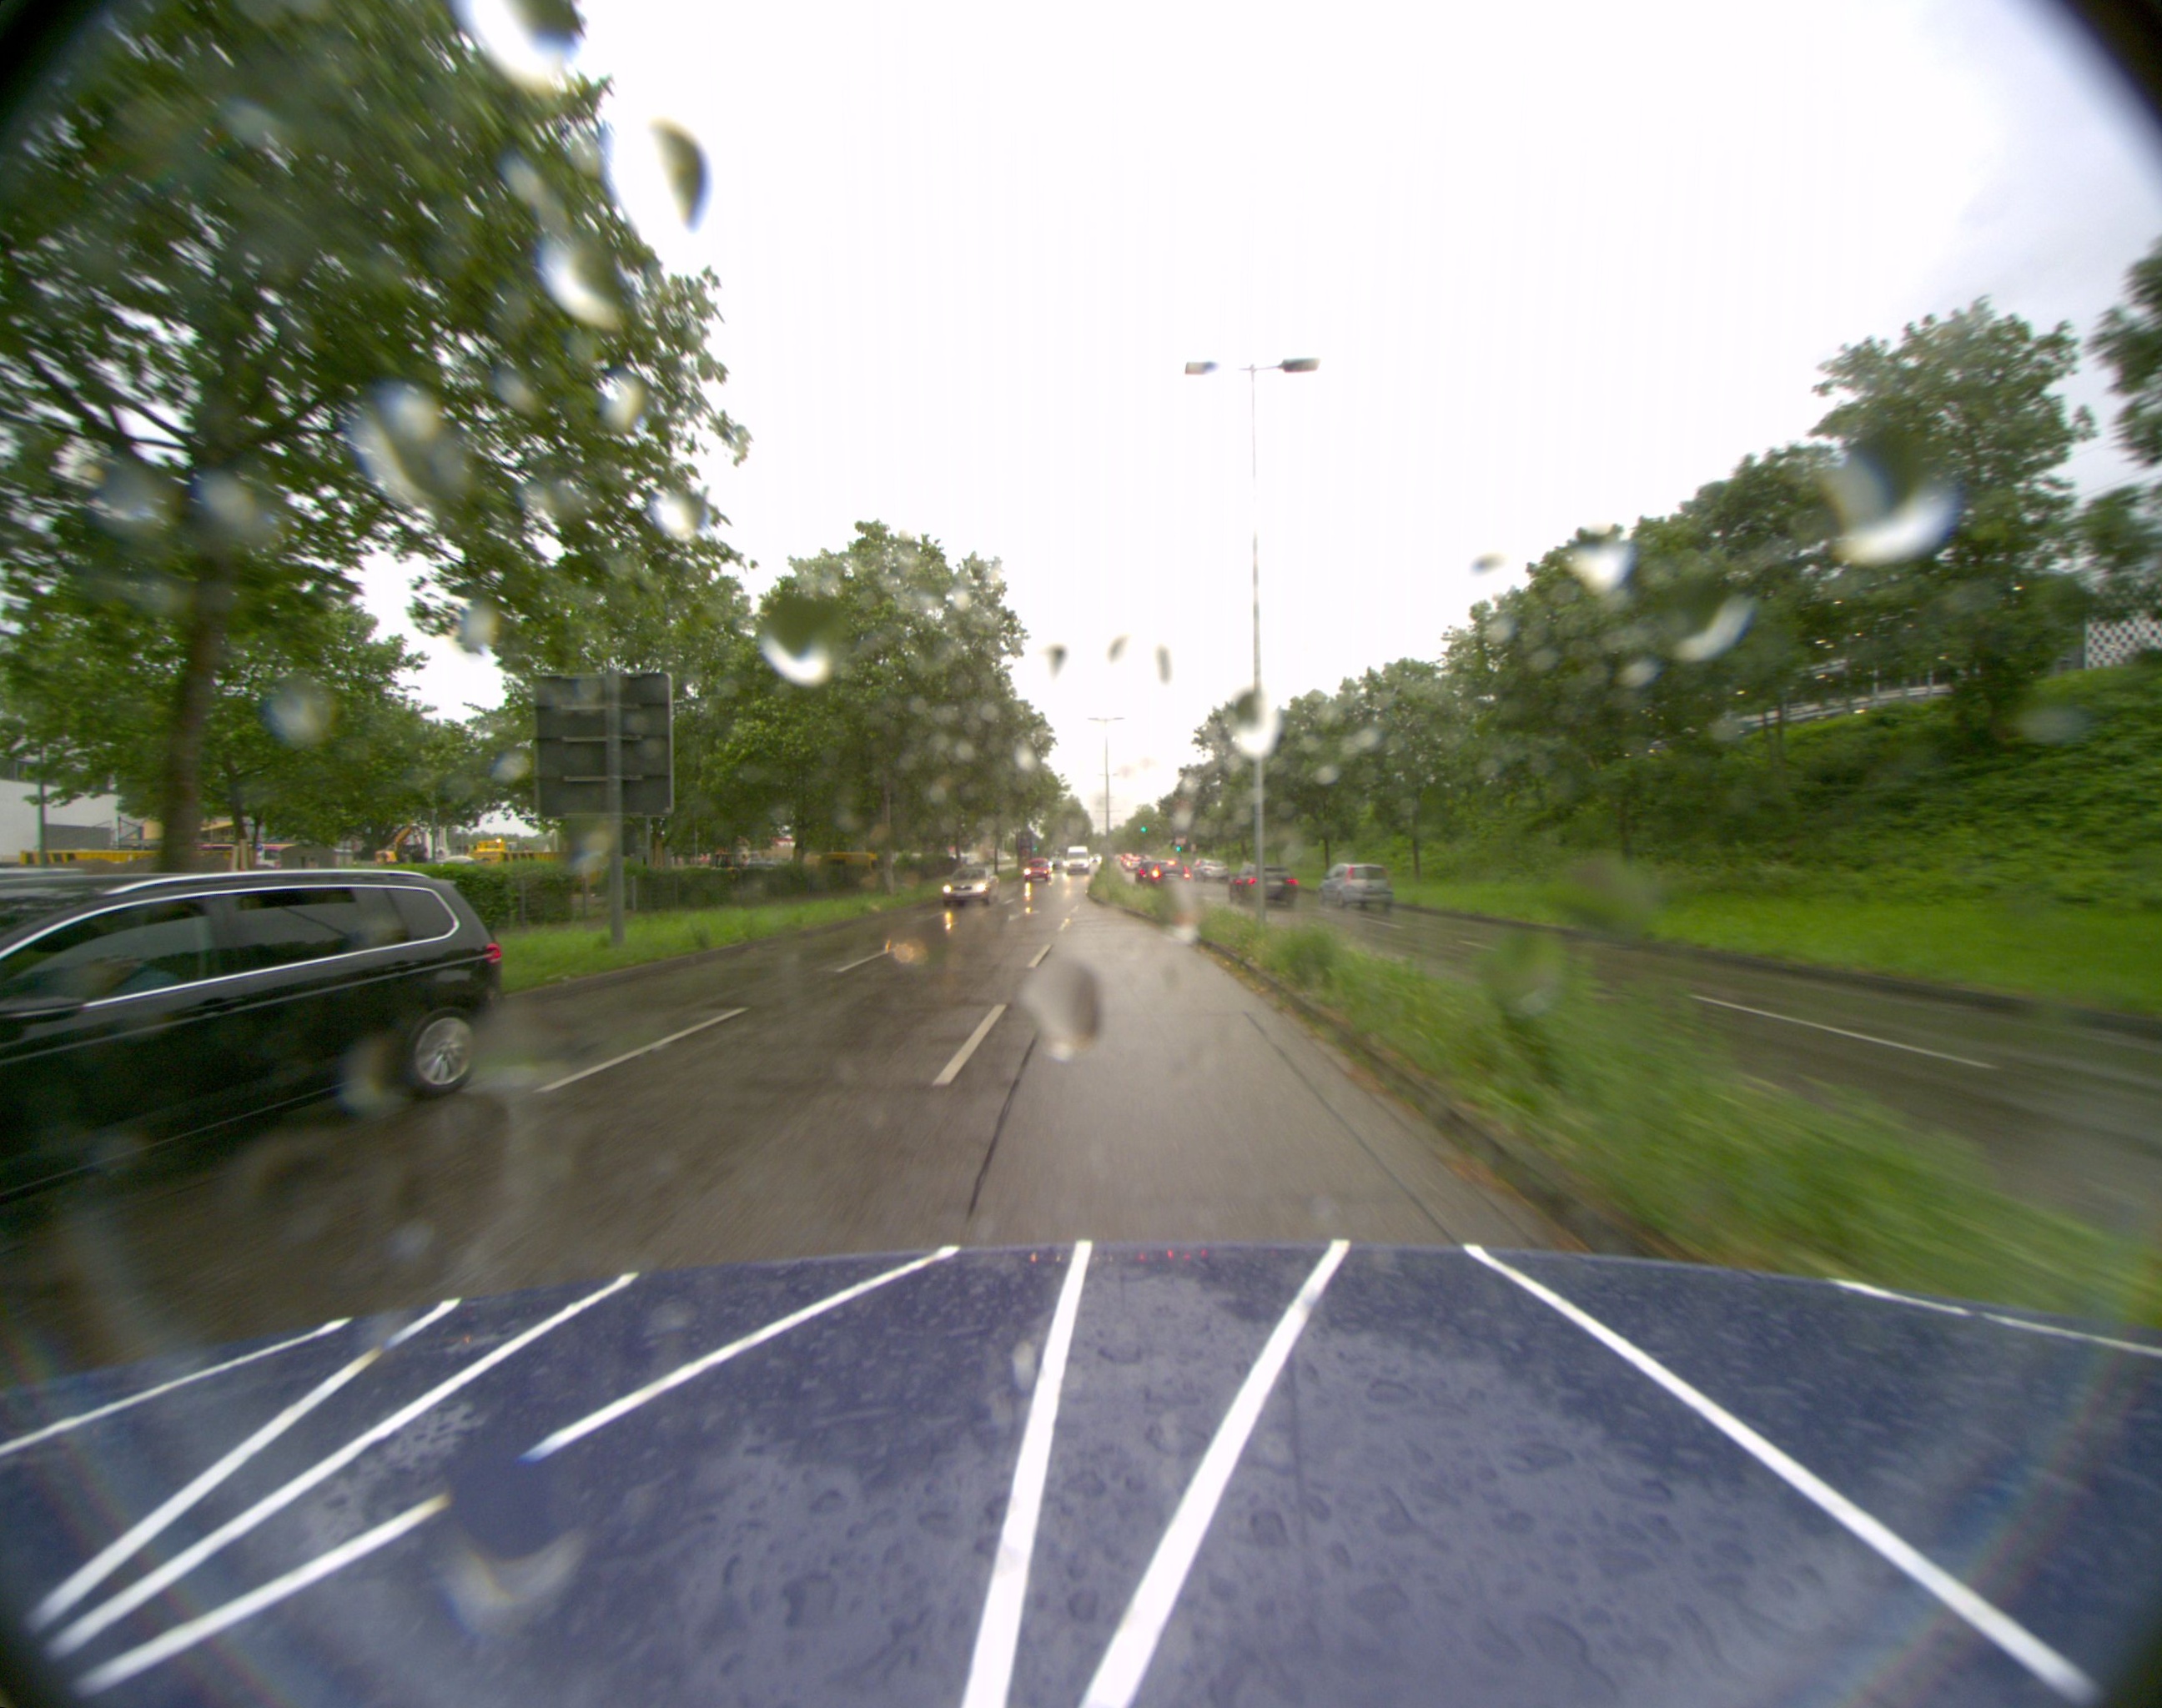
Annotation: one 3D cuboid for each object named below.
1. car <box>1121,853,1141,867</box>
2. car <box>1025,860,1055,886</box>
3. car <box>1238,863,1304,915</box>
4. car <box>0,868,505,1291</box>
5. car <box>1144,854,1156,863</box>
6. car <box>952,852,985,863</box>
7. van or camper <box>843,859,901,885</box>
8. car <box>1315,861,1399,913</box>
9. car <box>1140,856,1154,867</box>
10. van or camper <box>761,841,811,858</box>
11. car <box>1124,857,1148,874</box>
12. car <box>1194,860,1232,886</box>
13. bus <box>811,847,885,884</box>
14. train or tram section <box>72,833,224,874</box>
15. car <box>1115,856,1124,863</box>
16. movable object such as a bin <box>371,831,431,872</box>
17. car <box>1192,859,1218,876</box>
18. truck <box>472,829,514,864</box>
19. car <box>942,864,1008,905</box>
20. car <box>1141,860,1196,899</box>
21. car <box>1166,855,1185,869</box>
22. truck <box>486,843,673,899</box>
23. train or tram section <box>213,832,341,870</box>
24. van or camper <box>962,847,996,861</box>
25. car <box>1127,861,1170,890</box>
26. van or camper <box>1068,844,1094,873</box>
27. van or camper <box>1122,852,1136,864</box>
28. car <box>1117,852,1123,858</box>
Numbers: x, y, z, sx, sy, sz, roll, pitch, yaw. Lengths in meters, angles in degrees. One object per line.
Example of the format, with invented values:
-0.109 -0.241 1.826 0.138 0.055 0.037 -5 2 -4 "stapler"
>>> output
6.037 0.745 92.166 1.903 1.604 4.110 2 0 -2 "car"
-3.044 1.390 57.194 1.699 1.759 4.559 -1 0 3 "car"
6.660 1.184 27.009 1.724 1.608 4.348 -1 0 7 "car"
-5.476 1.003 3.809 1.861 1.716 4.190 -2 0 1 "car"
12.896 0.892 142.766 1.998 1.678 4.710 1 0 3 "car"
-16.396 0.486 110.898 4.470 1.663 1.863 0 1 -36 "car"
-16.354 1.411 59.526 3.998 1.895 1.802 -2 0 -2 "van or camper"
9.478 1.097 26.421 1.700 1.608 3.848 -1 0 3 "car"
10.472 1.209 121.248 1.998 1.678 4.710 1 0 3 "car"
-59.987 -0.951 154.681 8.994 3.139 2.979 -3 2 -33 "van or camper"
5.430 1.166 75.569 1.913 1.565 4.708 1 0 -1 "car"
9.042 1.273 52.364 1.913 1.565 4.710 2 0 3 "car"
-17.331 0.818 56.746 4.803 2.632 2.000 -1 0 3 "bus"
-87.395 -0.134 71.430 8.546 3.500 2.394 -3 2 -36 "train or tram section"
9.004 1.218 177.855 1.998 1.678 4.710 1 0 3 "car"
-61.229 -0.245 68.390 3.602 3.605 3.326 0 1 37 "movable object such as a bin"
11.323 1.190 69.478 1.840 1.493 4.440 1 0 3 "car"
-61.107 -0.777 79.118 2.500 3.326 9.445 -3 2 -33 "truck"
-4.141 1.158 30.310 1.806 1.422 4.387 -1 0 3 "car"
3.950 1.136 34.978 1.829 1.566 4.358 2 0 -2 "car"
12.039 0.988 96.648 1.998 1.678 4.710 1 0 3 "car"
-31.461 0.966 48.207 9.516 3.015 3.073 -3 2 -33 "truck"
-80.563 -0.401 76.418 8.385 3.500 2.394 -3 2 -36 "train or tram section"
-15.538 0.047 115.664 4.917 2.076 1.863 0 1 -36 "van or camper"
4.079 1.265 46.413 1.914 1.565 4.707 1 0 -3 "car"
-0.004 0.389 71.314 2.100 2.579 4.776 -2 0 3 "van or camper"
6.829 0.557 108.866 1.732 1.732 4.000 2 0 1 "van or camper"
11.653 0.264 226.747 1.780 1.552 3.774 -2 0 3 "car"
